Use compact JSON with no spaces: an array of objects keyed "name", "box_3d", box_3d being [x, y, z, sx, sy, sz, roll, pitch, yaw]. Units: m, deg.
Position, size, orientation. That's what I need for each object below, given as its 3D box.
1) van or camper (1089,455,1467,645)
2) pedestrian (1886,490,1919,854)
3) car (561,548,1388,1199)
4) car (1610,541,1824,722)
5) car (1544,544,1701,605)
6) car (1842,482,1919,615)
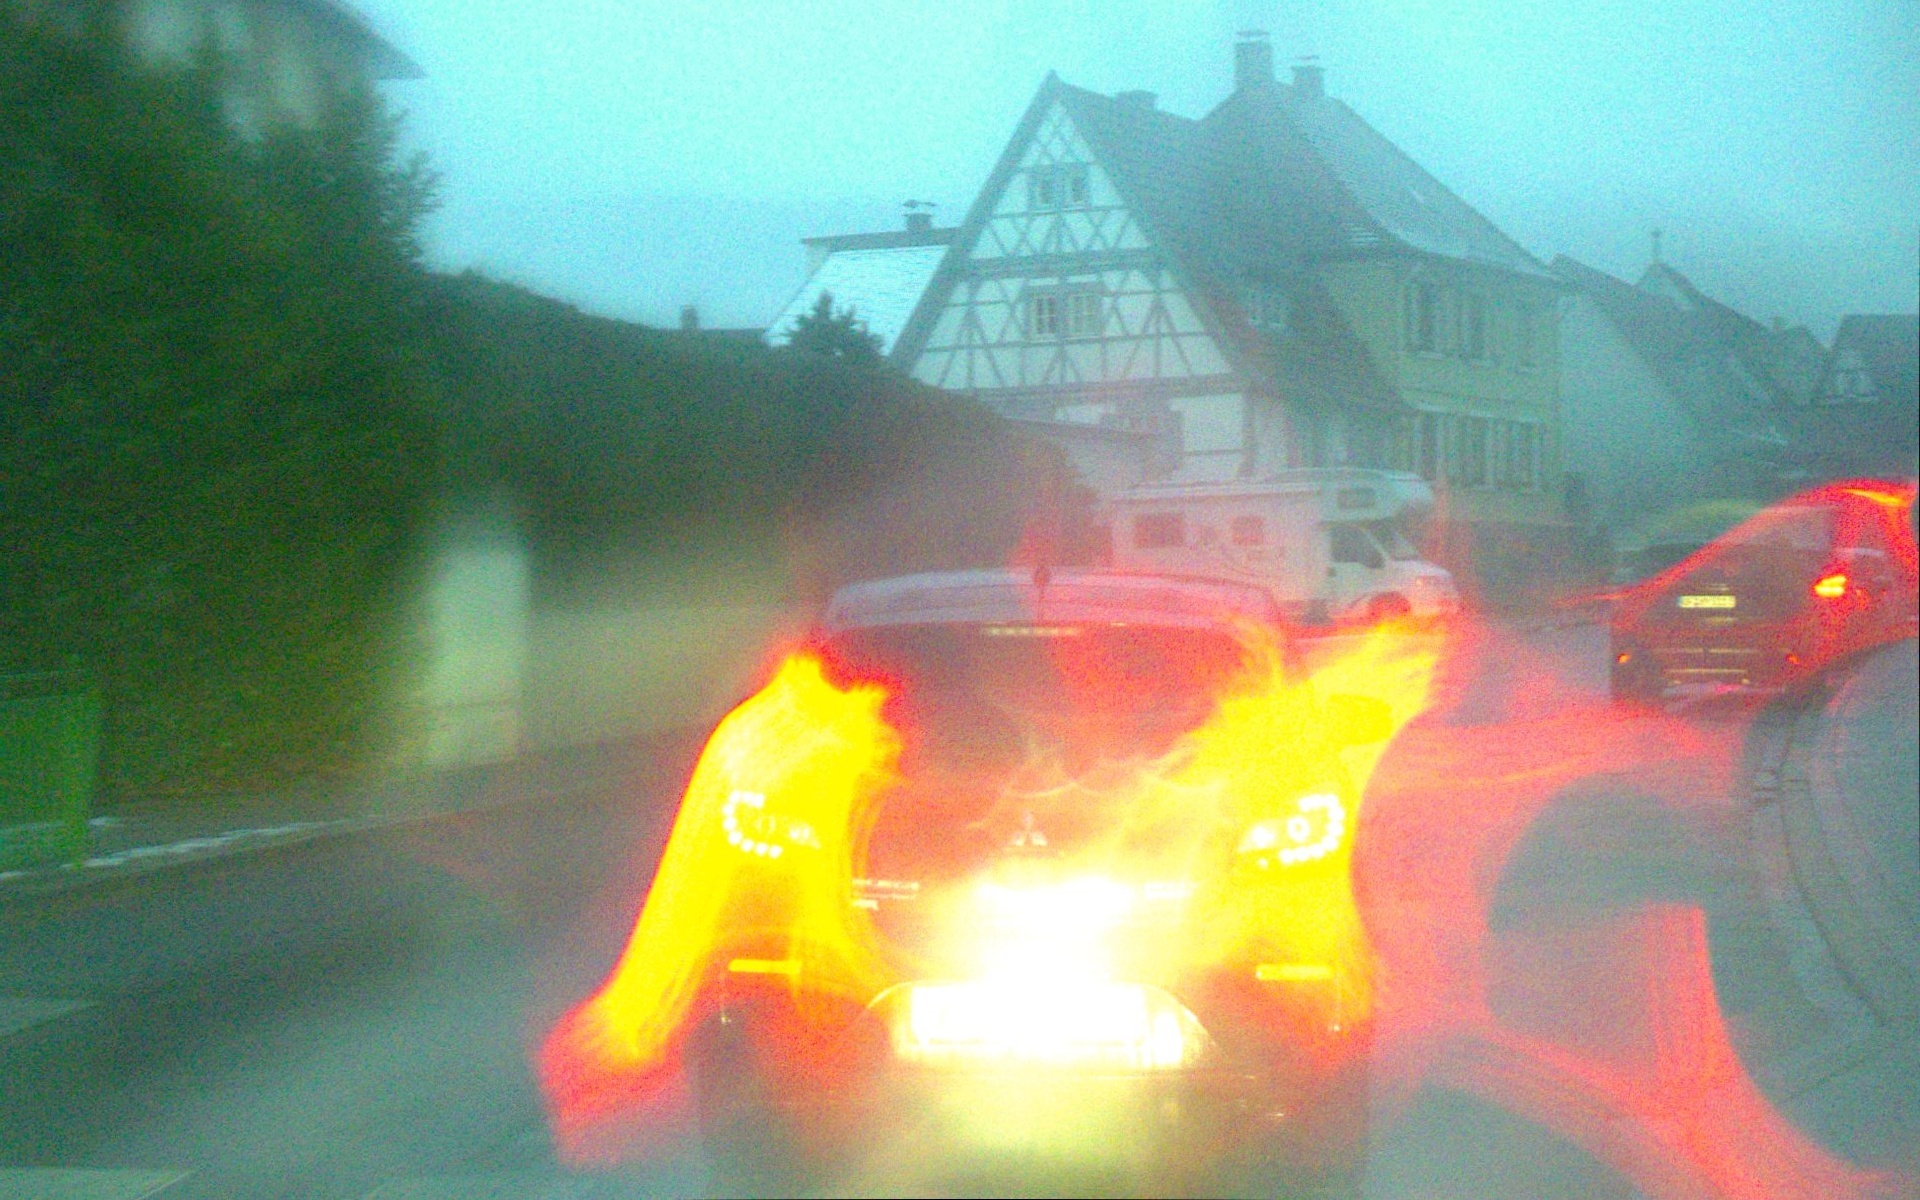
[{"name":"van or camper","box_3d":[5.639,-0.856,61.044,6.067,2.945,2.403,-4,-1,24]},{"name":"pedestrian","box_3d":[4.837,0.296,16.102,0.867,1.661,0.991,-4,0,15]},{"name":"car","box_3d":[0.132,0.602,9.502,1.795,1.471,4.000,1,1,3]},{"name":"car","box_3d":[7.421,0.259,33.434,1.849,1.631,4.333,1,1,15]},{"name":"car","box_3d":[16.499,-0.640,85.619,3.512,1.502,1.690,0,1,25]},{"name":"car","box_3d":[17.562,-0.957,64.059,1.816,2.405,3.748,0,1,20]}]
